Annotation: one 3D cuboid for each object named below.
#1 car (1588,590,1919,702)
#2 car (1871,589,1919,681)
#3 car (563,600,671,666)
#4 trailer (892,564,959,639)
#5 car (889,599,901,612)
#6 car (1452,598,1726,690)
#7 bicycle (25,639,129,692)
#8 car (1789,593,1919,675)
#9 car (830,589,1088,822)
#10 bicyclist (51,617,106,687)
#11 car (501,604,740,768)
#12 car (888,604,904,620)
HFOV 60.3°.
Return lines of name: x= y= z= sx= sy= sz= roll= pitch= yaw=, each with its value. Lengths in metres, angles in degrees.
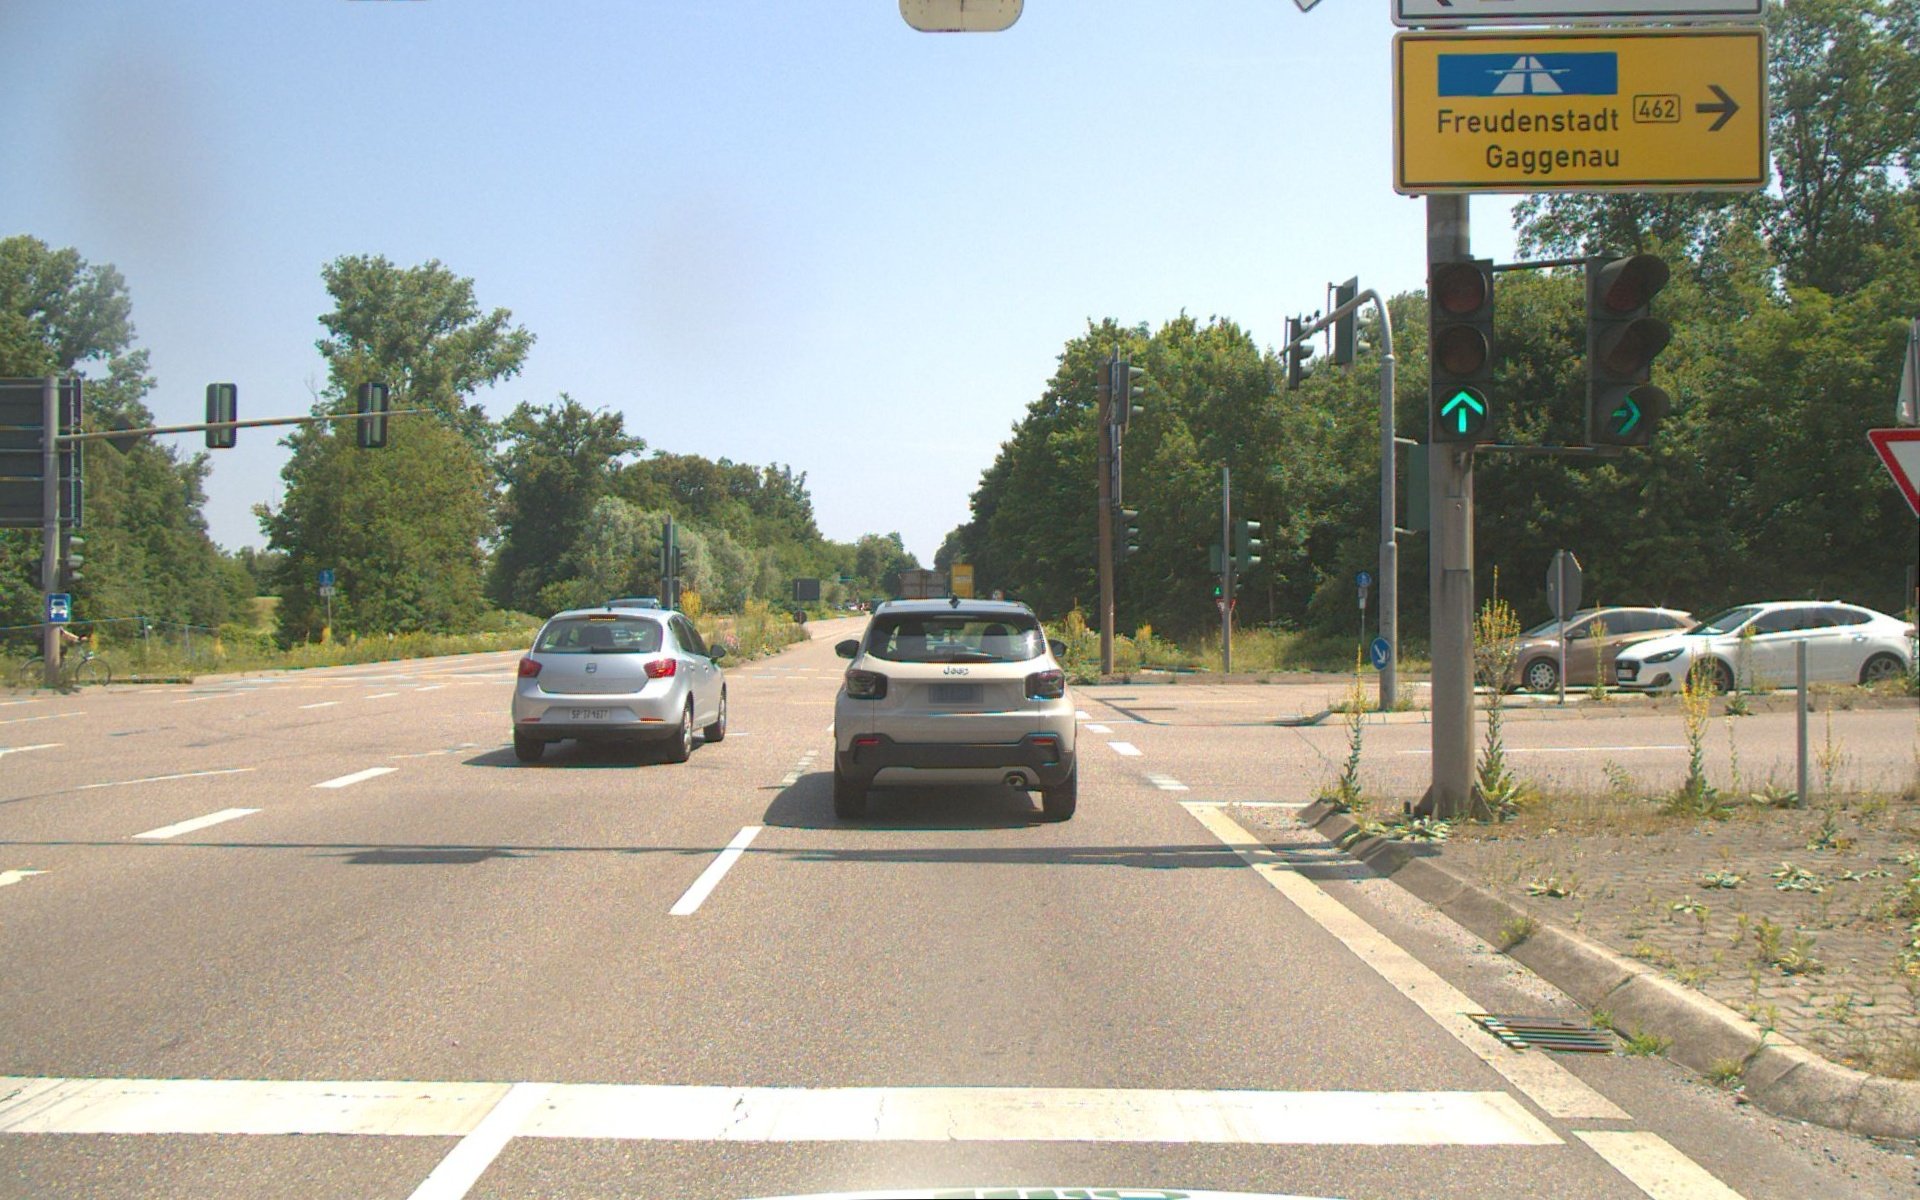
car: x=12.082 y=0.670 z=25.079 sx=4.331 sy=1.562 sz=1.999 roll=-1 pitch=0 yaw=-3
car: x=18.472 y=0.556 z=28.544 sx=4.330 sy=1.562 sz=2.121 roll=-1 pitch=-1 yaw=-1
car: x=-9.720 y=0.902 z=47.302 sx=1.953 sy=1.707 sz=5.365 roll=-2 pitch=0 yaw=0
trailer: x=-1.902 y=0.170 z=96.043 sx=3.312 sy=4.059 sz=10.805 roll=1 pitch=-1 yaw=2
car: x=-10.179 y=0.821 z=259.820 sx=1.737 sy=2.049 sz=4.000 roll=-1 pitch=0 yaw=0
car: x=10.918 y=0.747 z=28.909 sx=4.010 sy=1.472 sz=1.994 roll=-1 pitch=0 yaw=-3
bicycle: x=-19.108 y=1.401 z=35.819 sx=0.710 sy=1.082 sz=1.862 roll=-1 pitch=0 yaw=36
car: x=18.967 y=0.625 z=32.261 sx=4.523 sy=1.525 sz=2.111 roll=-1 pitch=-1 yaw=-1
car: x=-0.009 y=0.722 z=13.155 sx=1.731 sy=1.562 sz=4.000 roll=0 pitch=0 yaw=0
bicyclist: x=-19.107 y=1.118 z=35.848 sx=0.908 sy=1.485 sz=0.713 roll=-1 pitch=-1 yaw=37
car: x=-3.319 y=0.789 z=16.868 sx=1.632 sy=1.455 sz=3.828 roll=1 pitch=0 yaw=0
car: x=-8.278 y=1.554 z=214.647 sx=1.953 sy=2.049 sz=4.551 roll=-1 pitch=0 yaw=-2
